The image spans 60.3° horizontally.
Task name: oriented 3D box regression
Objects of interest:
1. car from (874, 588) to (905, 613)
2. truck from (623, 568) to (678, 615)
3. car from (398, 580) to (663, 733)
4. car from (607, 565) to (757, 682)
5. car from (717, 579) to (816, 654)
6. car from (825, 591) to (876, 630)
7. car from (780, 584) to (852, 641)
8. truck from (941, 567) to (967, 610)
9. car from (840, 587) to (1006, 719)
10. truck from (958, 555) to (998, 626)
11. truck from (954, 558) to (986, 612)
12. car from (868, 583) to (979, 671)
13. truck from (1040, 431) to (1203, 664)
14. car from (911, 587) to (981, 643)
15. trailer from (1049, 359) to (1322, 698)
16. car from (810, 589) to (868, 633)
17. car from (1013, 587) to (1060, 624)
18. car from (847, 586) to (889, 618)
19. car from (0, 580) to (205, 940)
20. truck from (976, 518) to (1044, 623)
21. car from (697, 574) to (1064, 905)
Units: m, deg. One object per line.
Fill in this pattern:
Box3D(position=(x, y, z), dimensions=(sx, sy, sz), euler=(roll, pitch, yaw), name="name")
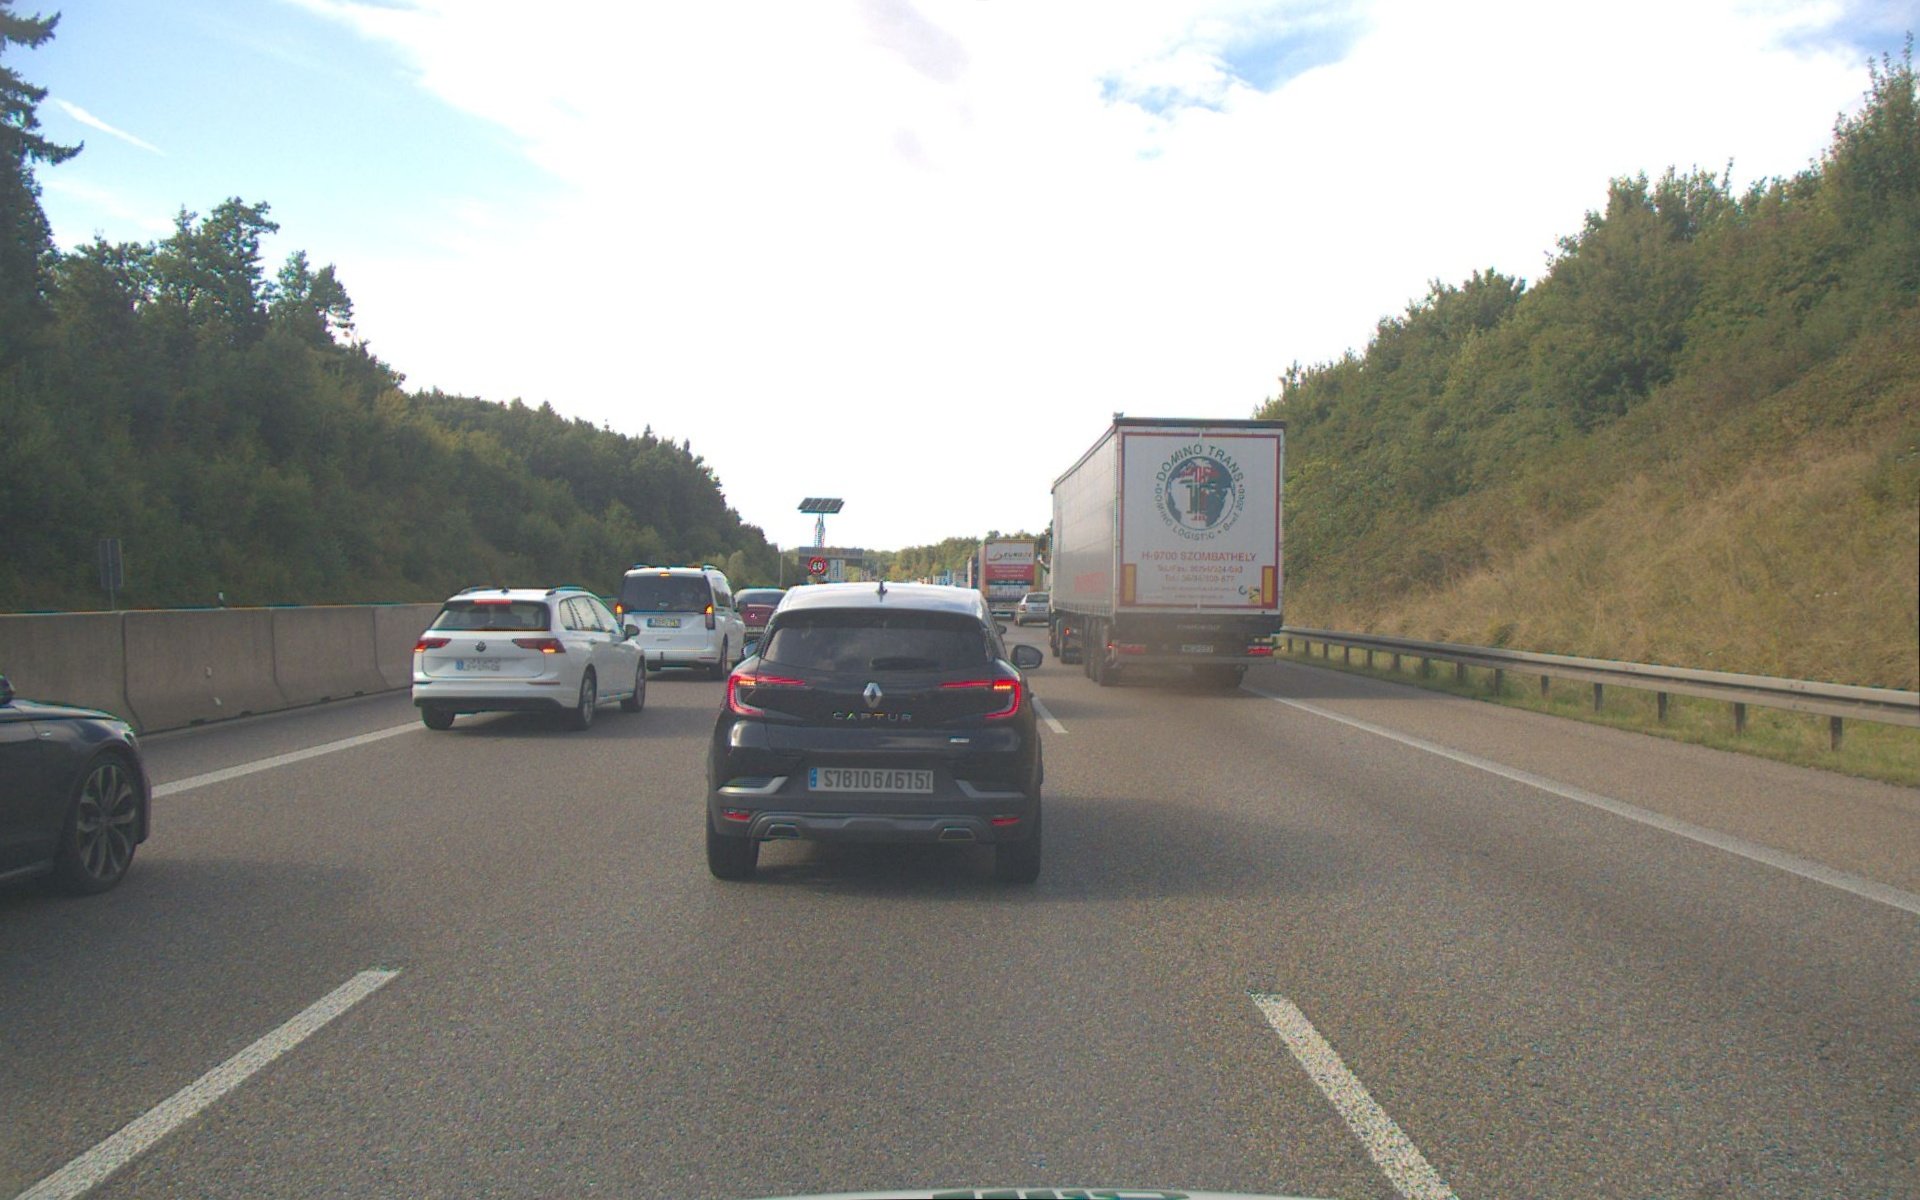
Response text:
Box3D(position=(-4.854, 0.018, 113.873), dimensions=(1.953, 1.641, 4.000), euler=(1, 0, 0), name="car")
Box3D(position=(-19.902, -0.527, 106.616), dimensions=(2.373, 2.905, 6.429), euler=(1, 0, -1), name="truck")
Box3D(position=(-4.631, 0.563, 18.488), dimensions=(1.767, 1.486, 4.309), euler=(1, 0, 1), name="car")
Box3D(position=(-4.661, 0.379, 28.309), dimensions=(1.873, 1.821, 4.416), euler=(1, 0, -1), name="car")
Box3D(position=(-4.510, 0.377, 39.004), dimensions=(1.817, 1.669, 3.926), euler=(1, 0, 1), name="car")
Box3D(position=(-4.824, 0.444, 73.042), dimensions=(1.953, 1.641, 4.000), euler=(1, 0, 0), name="car")
Box3D(position=(-4.604, 0.390, 53.329), dimensions=(1.953, 1.752, 4.000), euler=(1, 0, 0), name="car")
Box3D(position=(-0.738, -1.409, 211.983), dimensions=(3.101, 5.249, 12.737), euler=(1, 0, 0), name="truck")
Box3D(position=(-0.431, 0.632, 21.691), dimensions=(1.953, 1.540, 4.000), euler=(1, 0, 0), name="car")
Box3D(position=(1.459, -0.728, 137.036), dimensions=(3.101, 5.601, 12.737), euler=(1, 0, 0), name="truck")
Box3D(position=(1.127, -1.590, 179.071), dimensions=(3.101, 5.601, 12.740), euler=(1, 0, 2), name="truck")
Box3D(position=(-0.637, 0.483, 31.394), dimensions=(1.953, 1.540, 4.000), euler=(1, 0, 0), name="car")
Box3D(position=(3.457, -1.092, 36.856), dimensions=(2.936, 4.749, 5.938), euler=(1, 0, -1), name="truck")
Box3D(position=(-0.396, 0.427, 48.562), dimensions=(1.953, 1.540, 4.000), euler=(1, 0, 0), name="car")
Box3D(position=(3.546, -1.048, 29.975), dimensions=(2.941, 4.742, 13.288), euler=(1, 0, -1), name="trailer")
Box3D(position=(-4.746, 0.423, 65.509), dimensions=(1.953, 1.641, 4.000), euler=(1, 0, 0), name="car")
Box3D(position=(3.309, 0.246, 71.815), dimensions=(1.768, 1.559, 3.924), euler=(1, 0, -1), name="car")
Box3D(position=(-4.844, 0.105, 87.691), dimensions=(1.953, 1.641, 4.000), euler=(1, 0, 0), name="car")
Box3D(position=(-4.873, 0.658, 6.293), dimensions=(1.805, 1.481, 4.748), euler=(1, 0, 0), name="car")
Box3D(position=(2.532, -1.428, 88.110), dimensions=(3.296, 5.132, 12.737), euler=(1, 0, 0), name="truck")
Box3D(position=(-0.319, 0.667, 9.987), dimensions=(1.767, 1.579, 4.001), euler=(0, 0, 2), name="car")
